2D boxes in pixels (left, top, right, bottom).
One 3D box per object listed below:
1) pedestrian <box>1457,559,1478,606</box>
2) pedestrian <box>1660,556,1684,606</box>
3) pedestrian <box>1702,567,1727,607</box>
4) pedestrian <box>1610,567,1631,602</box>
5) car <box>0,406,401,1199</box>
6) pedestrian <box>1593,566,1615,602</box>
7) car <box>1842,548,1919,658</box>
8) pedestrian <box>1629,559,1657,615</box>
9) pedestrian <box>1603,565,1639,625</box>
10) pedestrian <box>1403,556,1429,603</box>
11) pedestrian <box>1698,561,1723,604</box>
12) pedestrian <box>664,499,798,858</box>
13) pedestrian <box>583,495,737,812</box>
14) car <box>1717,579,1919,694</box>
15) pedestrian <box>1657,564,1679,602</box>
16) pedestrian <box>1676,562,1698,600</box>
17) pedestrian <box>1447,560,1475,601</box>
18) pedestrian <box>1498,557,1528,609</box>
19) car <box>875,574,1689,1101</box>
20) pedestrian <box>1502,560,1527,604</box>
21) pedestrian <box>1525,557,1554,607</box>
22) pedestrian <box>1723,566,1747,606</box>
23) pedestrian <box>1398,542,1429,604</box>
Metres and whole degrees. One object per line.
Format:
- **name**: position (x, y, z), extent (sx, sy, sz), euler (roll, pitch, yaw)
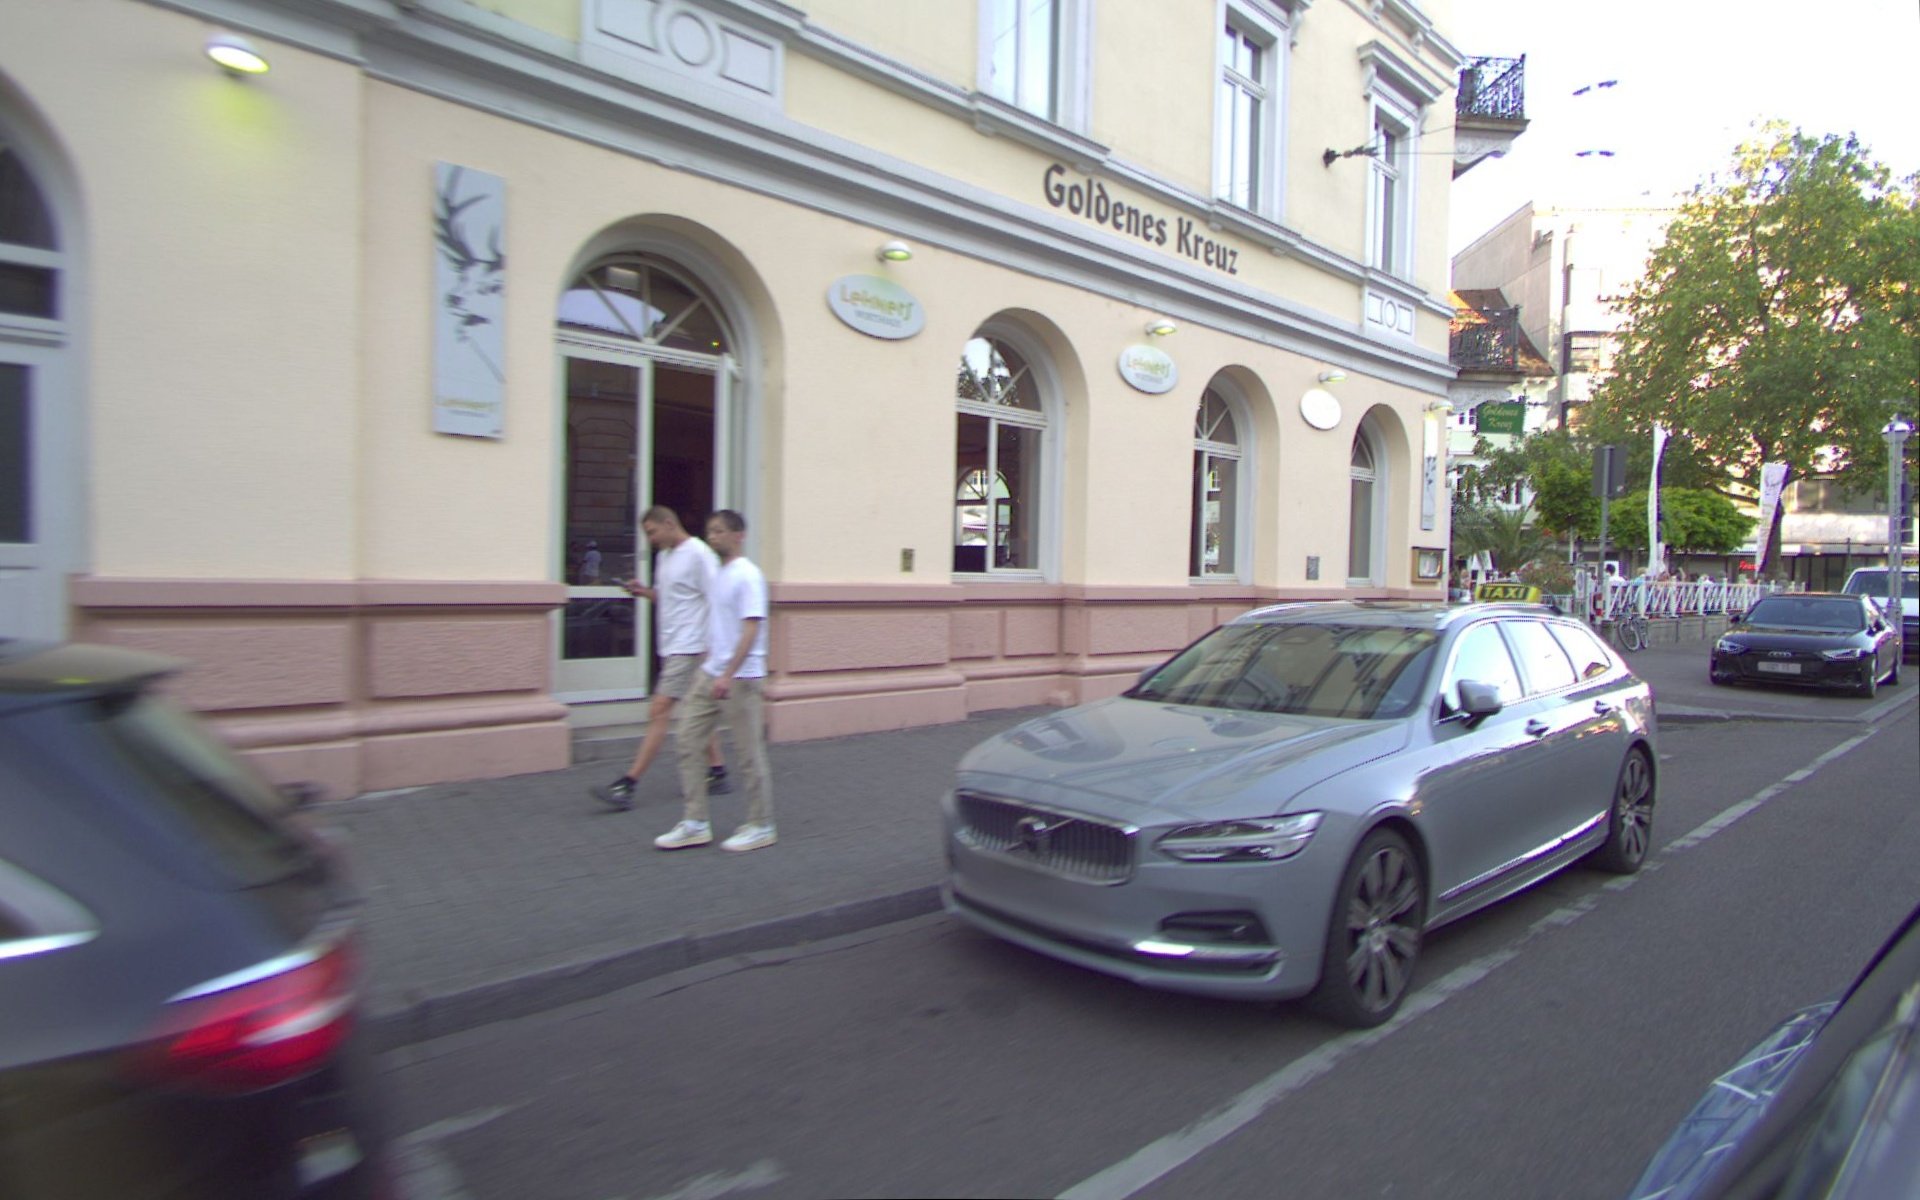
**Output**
- **pedestrian**: position (14.131, -0.493, 28.178), extent (0.486, 1.282, 0.527), euler (1, 1, 26)
- **pedestrian**: position (22.511, -0.609, 31.984), extent (0.523, 1.578, 0.490), euler (0, 1, -41)
- **pedestrian**: position (24.975, -0.445, 33.500), extent (0.482, 1.313, 0.531), euler (0, 1, -40)
- **pedestrian**: position (24.696, -0.590, 37.827), extent (0.482, 1.313, 0.531), euler (0, 1, -40)
- **car**: position (-3.029, 0.619, 0.765), extent (4.361, 1.610, 1.737), euler (-1, 0, -38)
- **pedestrian**: position (23.413, -0.580, 36.772), extent (0.482, 1.313, 0.531), euler (0, 1, -40)
- **car**: position (20.236, 0.013, 21.241), extent (5.124, 2.092, 1.856), euler (-1, 3, -41)
- **pedestrian**: position (16.167, -0.313, 23.966), extent (0.528, 1.312, 0.485), euler (1, 1, 34)
- **pedestrian**: position (14.666, -0.125, 22.469), extent (0.482, 1.312, 0.531), euler (0, 1, -40)
- **pedestrian**: position (13.314, -0.598, 29.538), extent (0.523, 1.349, 0.490), euler (0, 1, -41)
- **pedestrian**: position (24.169, -0.571, 32.577), extent (0.482, 1.349, 0.531), euler (0, 1, -40)
- **pedestrian**: position (-1.189, 0.360, 5.173), extent (0.476, 1.709, 0.623), euler (2, 5, -25)
- **pedestrian**: position (-1.777, 0.267, 5.950), extent (0.542, 1.709, 0.761), euler (0, 6, -41)
- **car**: position (13.106, 0.436, 15.317), extent (4.469, 1.407, 1.700), euler (-1, 4, -41)
- **pedestrian**: position (25.252, -0.609, 36.083), extent (0.482, 1.313, 0.531), euler (0, 1, -40)
- **pedestrian**: position (25.491, -0.671, 35.484), extent (0.482, 1.313, 0.531), euler (0, 1, -40)
- **pedestrian**: position (16.810, -0.647, 33.948), extent (0.653, 1.349, 0.628), euler (0, 1, -41)
- **pedestrian**: position (14.569, -0.444, 26.677), extent (0.482, 1.349, 0.531), euler (0, 1, -40)
- **car**: position (1.963, 0.629, 5.095), extent (4.612, 1.494, 1.809), euler (-1, 1, -41)
- **pedestrian**: position (17.279, -0.573, 31.539), extent (0.523, 1.349, 0.490), euler (0, 1, -41)
- **pedestrian**: position (15.765, -0.502, 27.549), extent (0.482, 1.349, 0.531), euler (0, 1, -40)
- **pedestrian**: position (26.928, -0.492, 35.168), extent (0.482, 1.349, 0.531), euler (0, 1, -40)
- **pedestrian**: position (12.781, -0.751, 28.512), extent (0.588, 1.713, 0.721), euler (2, 1, 42)
